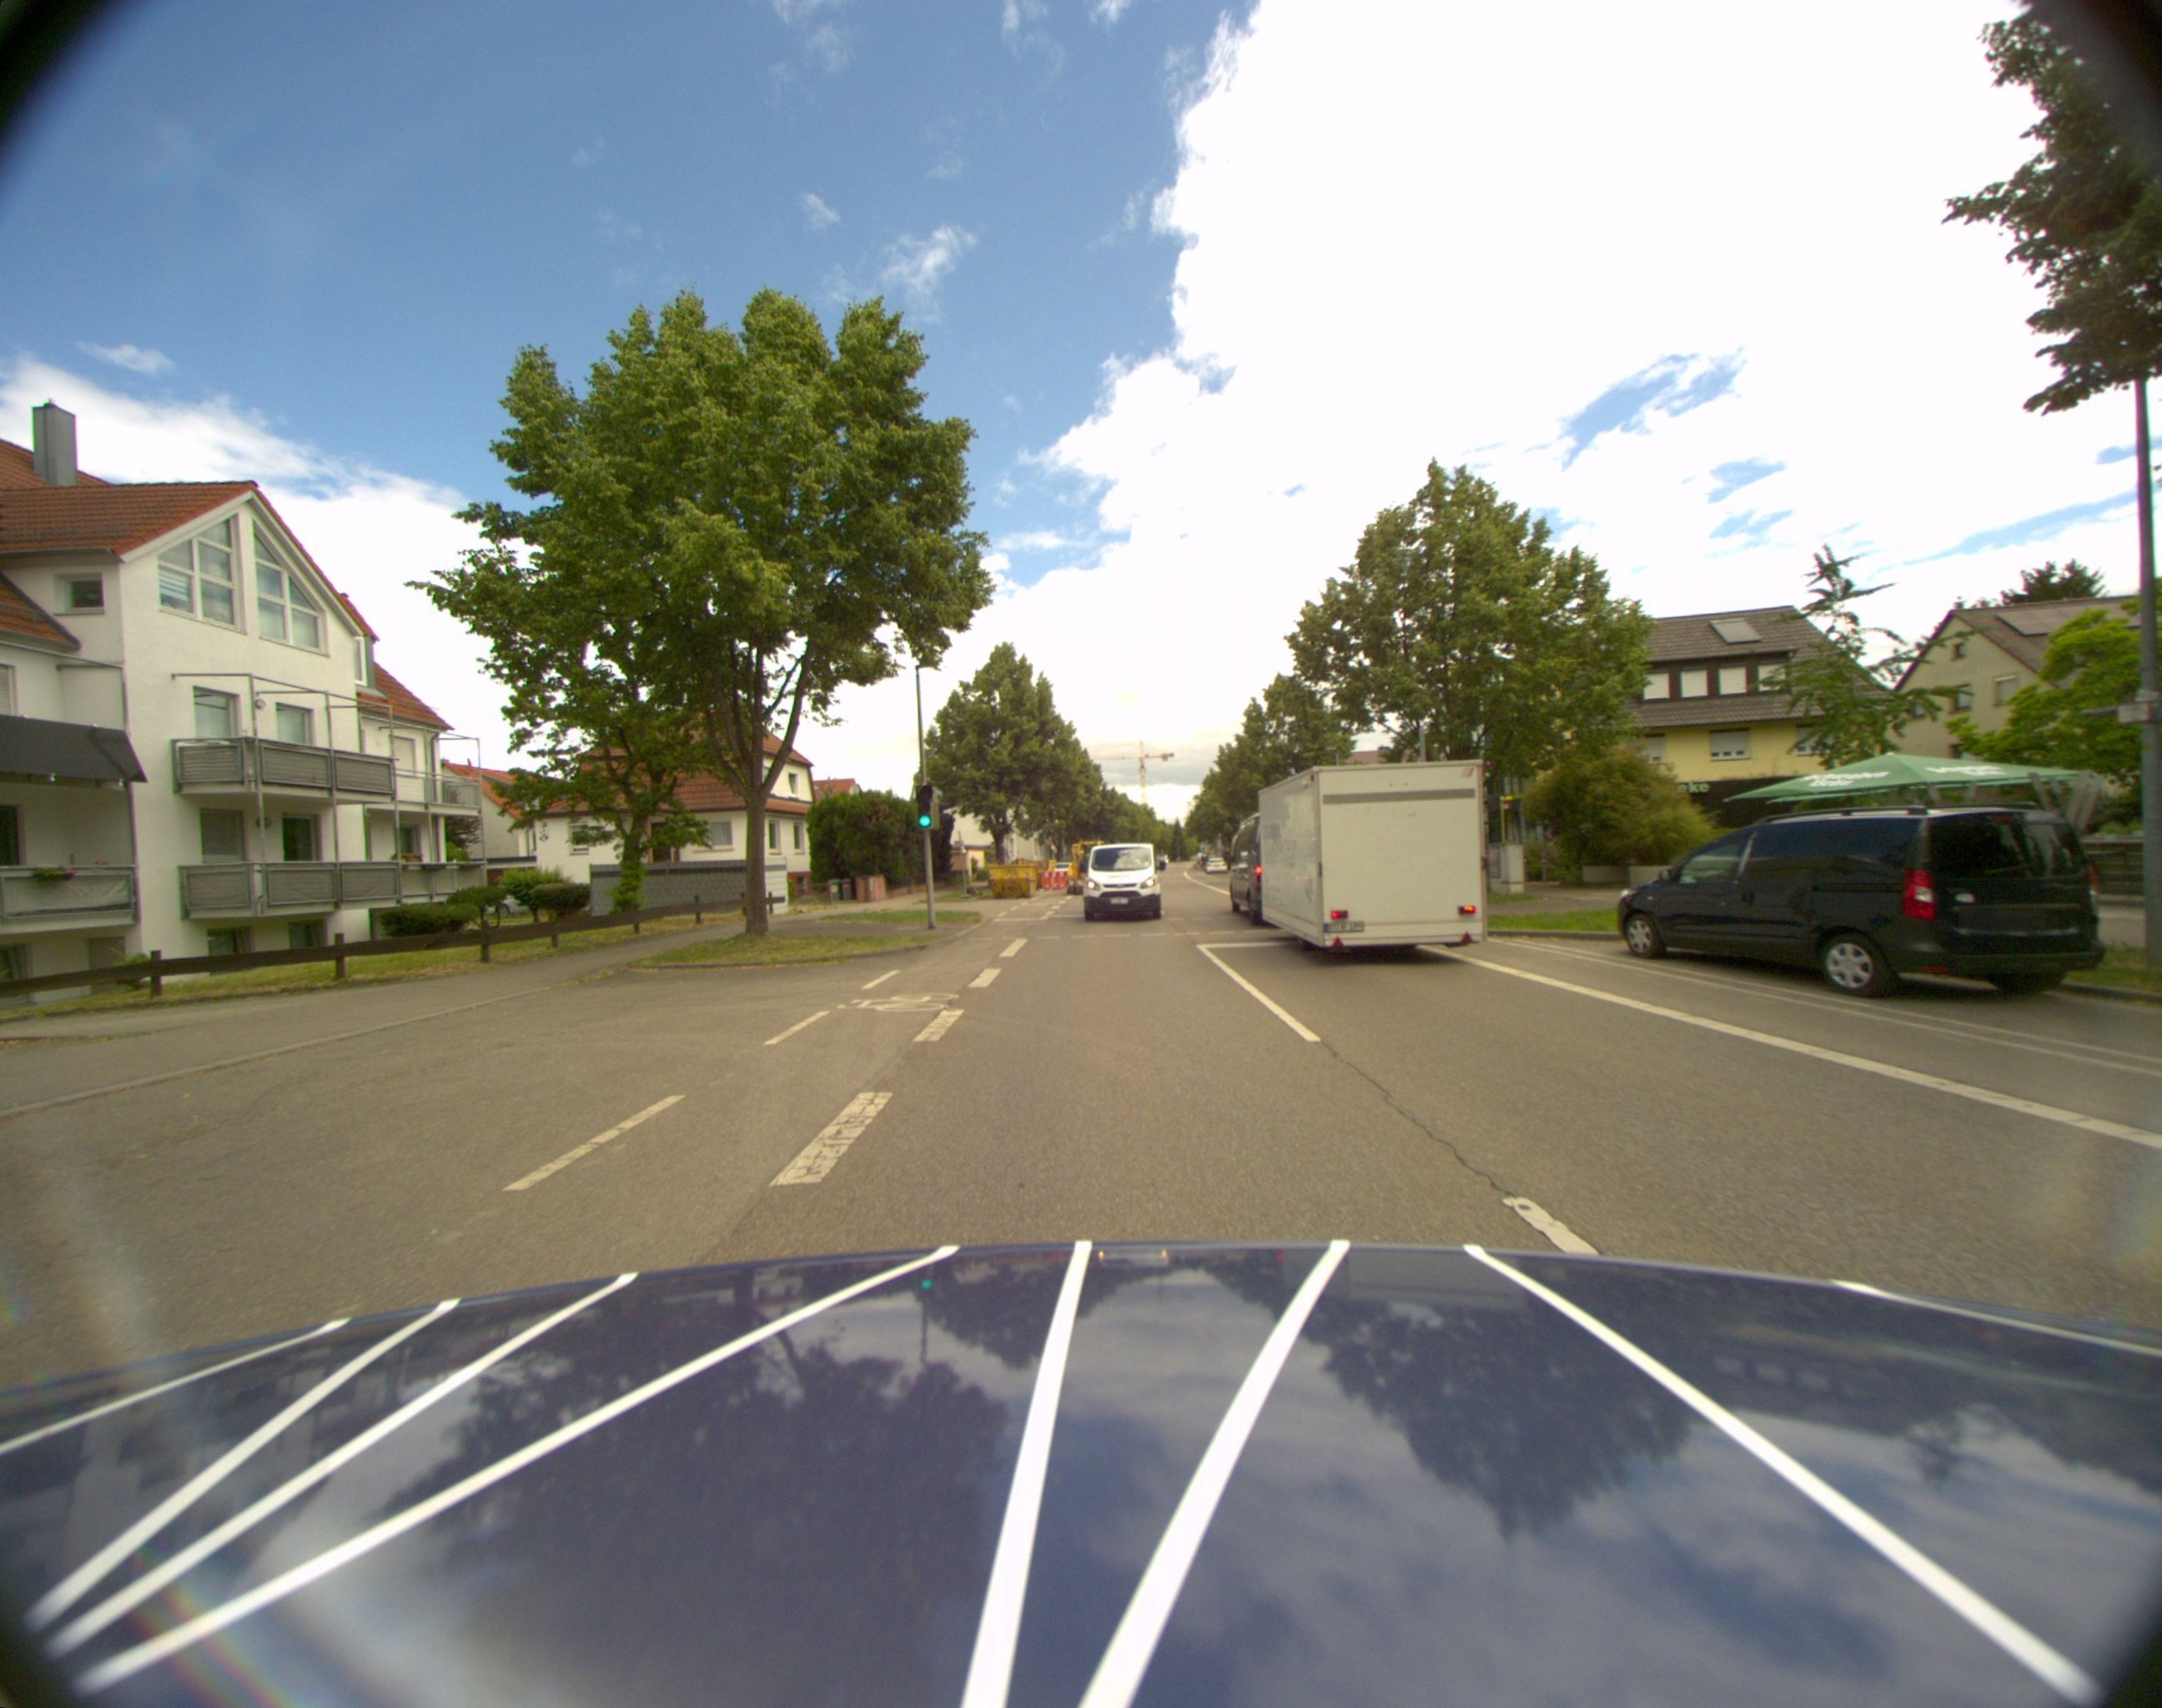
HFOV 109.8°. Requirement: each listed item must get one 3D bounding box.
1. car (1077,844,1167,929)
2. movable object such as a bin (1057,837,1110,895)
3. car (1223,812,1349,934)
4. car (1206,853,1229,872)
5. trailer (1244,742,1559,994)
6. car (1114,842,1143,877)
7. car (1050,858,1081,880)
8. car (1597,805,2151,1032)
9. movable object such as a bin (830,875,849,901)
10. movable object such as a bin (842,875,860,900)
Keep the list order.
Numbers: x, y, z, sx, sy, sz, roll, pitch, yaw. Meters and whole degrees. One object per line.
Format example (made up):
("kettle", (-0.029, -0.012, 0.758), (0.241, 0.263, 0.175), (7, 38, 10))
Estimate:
("car", (1.301, 0.797, 21.117), (1.997, 2.002, 5.322), (-2, 0, 8))
("movable object such as a bin", (0.201, 0.535, 36.264), (1.997, 2.550, 4.549), (-2, 0, 6))
("car", (4.837, 0.388, 18.917), (2.063, 2.465, 6.316), (-2, 0, 7))
("car", (12.347, 0.763, 68.595), (1.889, 1.565, 4.003), (-2, 0, 12))
("trailer", (4.456, 0.181, 12.302), (2.640, 2.862, 6.873), (-2, 0, 5))
("car", (3.846, 0.420, 60.610), (1.998, 2.584, 4.002), (-3, 0, 6))
("car", (-1.147, 1.121, 59.166), (1.821, 1.575, 4.050), (-2, 0, 6))
("car", (8.186, 0.551, 8.613), (1.711, 1.863, 4.398), (-2, 0, 1))
("movable object such as a bin", (-10.390, 1.465, 32.747), (0.540, 1.052, 0.519), (-2, 0, 15))
("movable object such as a bin", (-9.874, 1.428, 32.603), (0.499, 1.038, 0.520), (-2, 0, 15))
